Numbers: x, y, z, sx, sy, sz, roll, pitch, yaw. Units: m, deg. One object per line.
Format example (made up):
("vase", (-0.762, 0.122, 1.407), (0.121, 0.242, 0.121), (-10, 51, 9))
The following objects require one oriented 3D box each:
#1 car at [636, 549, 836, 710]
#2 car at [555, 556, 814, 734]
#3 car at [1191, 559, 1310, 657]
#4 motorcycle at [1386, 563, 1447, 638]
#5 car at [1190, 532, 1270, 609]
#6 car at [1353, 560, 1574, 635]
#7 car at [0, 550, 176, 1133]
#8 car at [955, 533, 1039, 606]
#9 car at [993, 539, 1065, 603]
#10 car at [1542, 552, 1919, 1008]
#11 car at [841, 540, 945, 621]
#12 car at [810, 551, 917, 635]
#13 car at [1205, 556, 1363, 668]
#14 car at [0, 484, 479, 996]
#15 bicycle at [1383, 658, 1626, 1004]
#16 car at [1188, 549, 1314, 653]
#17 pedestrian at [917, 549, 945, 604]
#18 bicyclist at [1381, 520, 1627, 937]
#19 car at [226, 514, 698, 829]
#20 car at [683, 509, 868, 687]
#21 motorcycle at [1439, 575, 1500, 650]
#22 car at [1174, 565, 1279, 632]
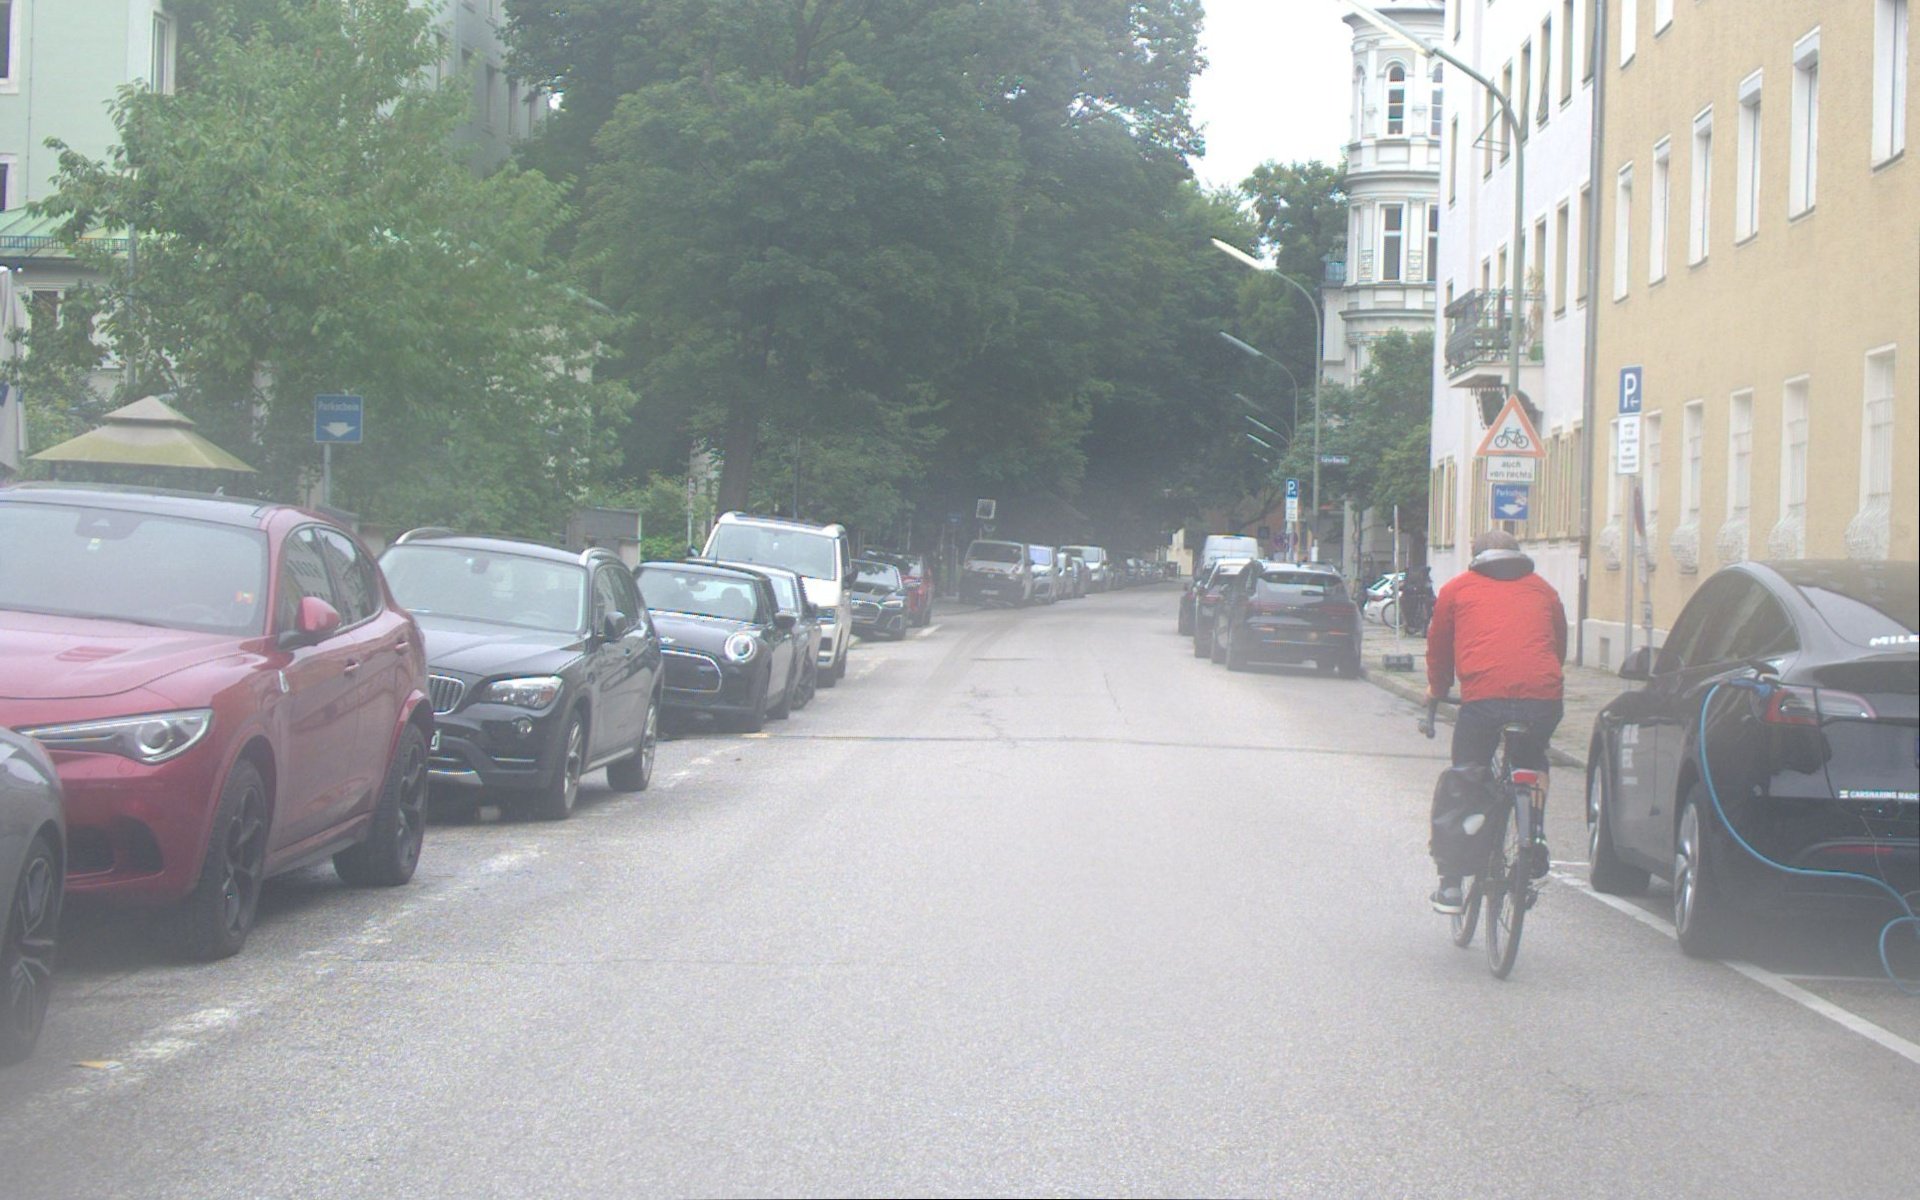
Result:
("car", (-2.334, 0.263, 36.843), (1.887, 1.538, 4.696), (2, 1, -1))
("car", (-2.464, 0.362, 31.755), (1.859, 1.539, 4.187), (0, 1, 3))
("car", (4.787, 0.101, 57.142), (1.839, 1.526, 4.415), (1, 1, 3))
("motorcycle", (9.018, -0.008, 68.003), (0.857, 1.428, 2.707), (2, 1, 1))
("car", (7.898, -0.864, 100.918), (2.204, 2.201, 4.855), (0, 0, 3))
("car", (11.726, -0.072, 80.295), (4.906, 1.526, 1.913), (1, 3, 2))
("car", (-3.439, 0.610, 8.596), (1.896, 1.513, 4.655), (3, 1, -1))
("car", (1.119, -0.908, 101.374), (2.248, 1.950, 5.453), (3, 1, 2))
("car", (2.289, -0.973, 113.036), (2.184, 1.950, 5.166), (3, 1, 2))
("car", (3.883, 0.663, 15.101), (1.994, 1.625, 5.099), (3, 1, 3))
("car", (-1.401, -0.425, 73.317), (1.887, 1.585, 4.527), (3, 1, 2))
("car", (-1.755, -0.159, 63.589), (1.807, 1.397, 4.924), (3, 1, 0))
("car", (4.821, 0.137, 51.697), (1.860, 1.571, 4.900), (1, 1, 0))
("car", (-3.392, 0.411, 13.988), (1.902, 1.686, 4.808), (3, 1, 3))
("bicycle", (2.041, 0.829, 13.115), (0.672, 1.137, 2.011), (3, 0, 4))
("car", (5.241, -0.013, 62.428), (1.994, 1.701, 4.534), (4, 1, 2))
("pedestrian", (-0.838, -0.692, 99.733), (0.713, 1.543, 0.752), (4, 1, -1))
("bicyclist", (2.038, 0.463, 12.999), (0.754, 1.478, 0.981), (3, 0, 4))
("car", (-2.868, 0.358, 20.888), (1.846, 1.602, 4.742), (3, 1, 3))
("car", (-2.224, -0.060, 42.813), (1.966, 1.983, 5.152), (3, 1, 0))
("motorcycle", (8.770, 0.199, 59.216), (0.732, 1.235, 2.007), (3, 0, 1))
("car", (5.541, -0.060, 71.924), (2.000, 1.314, 4.595), (-1, 1, 2))
